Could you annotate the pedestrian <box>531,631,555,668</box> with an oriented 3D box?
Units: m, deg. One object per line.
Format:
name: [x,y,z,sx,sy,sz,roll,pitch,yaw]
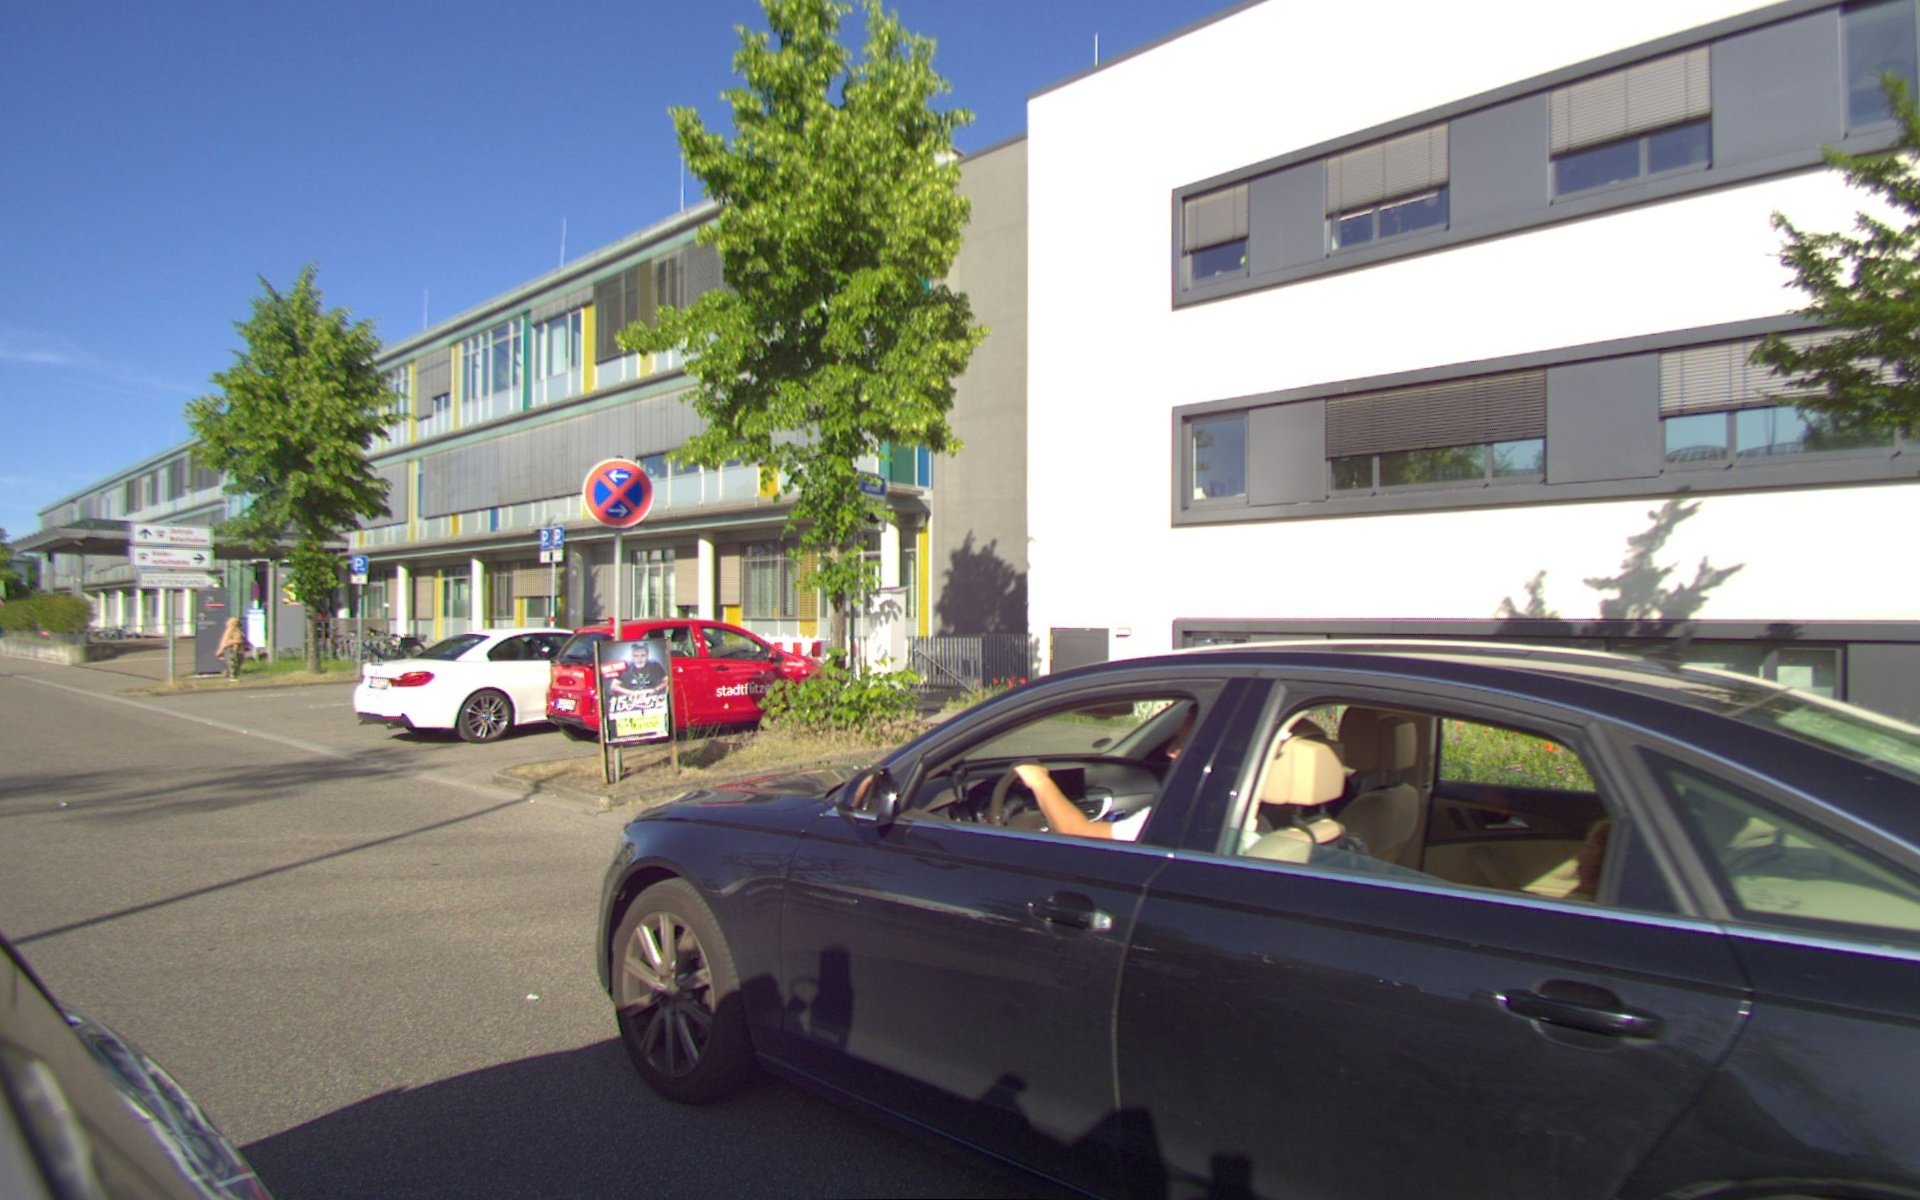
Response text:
pedestrian: [-13.570,1.602,32.947,0.556,1.182,0.526,-2,-2,42]

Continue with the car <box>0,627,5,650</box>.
car: [-64.946,2.555,65.716,1.752,1.478,4.090,-1,-1,39]

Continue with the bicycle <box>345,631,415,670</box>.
bicycle: [-17.032,1.471,29.734,1.683,1.130,0.537,1,-2,-44]

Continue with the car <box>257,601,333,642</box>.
car: [-32.612,1.060,49.567,4.708,1.905,1.899,-2,-2,41]

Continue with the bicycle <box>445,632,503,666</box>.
bicycle: [-16.461,1.655,34.330,0.536,1.132,1.698,-2,-2,40]

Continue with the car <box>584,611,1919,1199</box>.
car: [1.018,0.775,2.589,4.535,1.453,1.743,-1,-2,41]

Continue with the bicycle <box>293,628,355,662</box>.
bicycle: [-21.365,1.497,34.011,0.534,1.132,1.702,-1,-2,31]

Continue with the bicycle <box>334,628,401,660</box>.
bicycle: [-18.497,1.366,31.622,0.536,0.981,1.698,-2,-2,39]

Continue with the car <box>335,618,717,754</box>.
car: [-5.709,1.027,13.768,1.700,1.377,4.462,-2,0,43]

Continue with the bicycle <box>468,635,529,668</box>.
bicycle: [-14.734,1.627,32.348,0.536,1.001,1.698,-2,-2,40]

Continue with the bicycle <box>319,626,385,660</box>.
bicycle: [-19.265,1.359,32.109,0.536,1.063,1.698,-2,-2,39]

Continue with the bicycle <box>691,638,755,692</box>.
bicycle: [-5.130,1.382,21.854,1.763,1.132,0.416,-2,-2,42]

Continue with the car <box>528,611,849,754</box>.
car: [-3.340,0.933,12.831,3.592,1.480,1.615,-1,-1,-44]

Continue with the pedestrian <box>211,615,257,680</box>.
pedestrian: [-18.162,1.167,25.317,0.780,1.561,0.765,-1,0,41]
